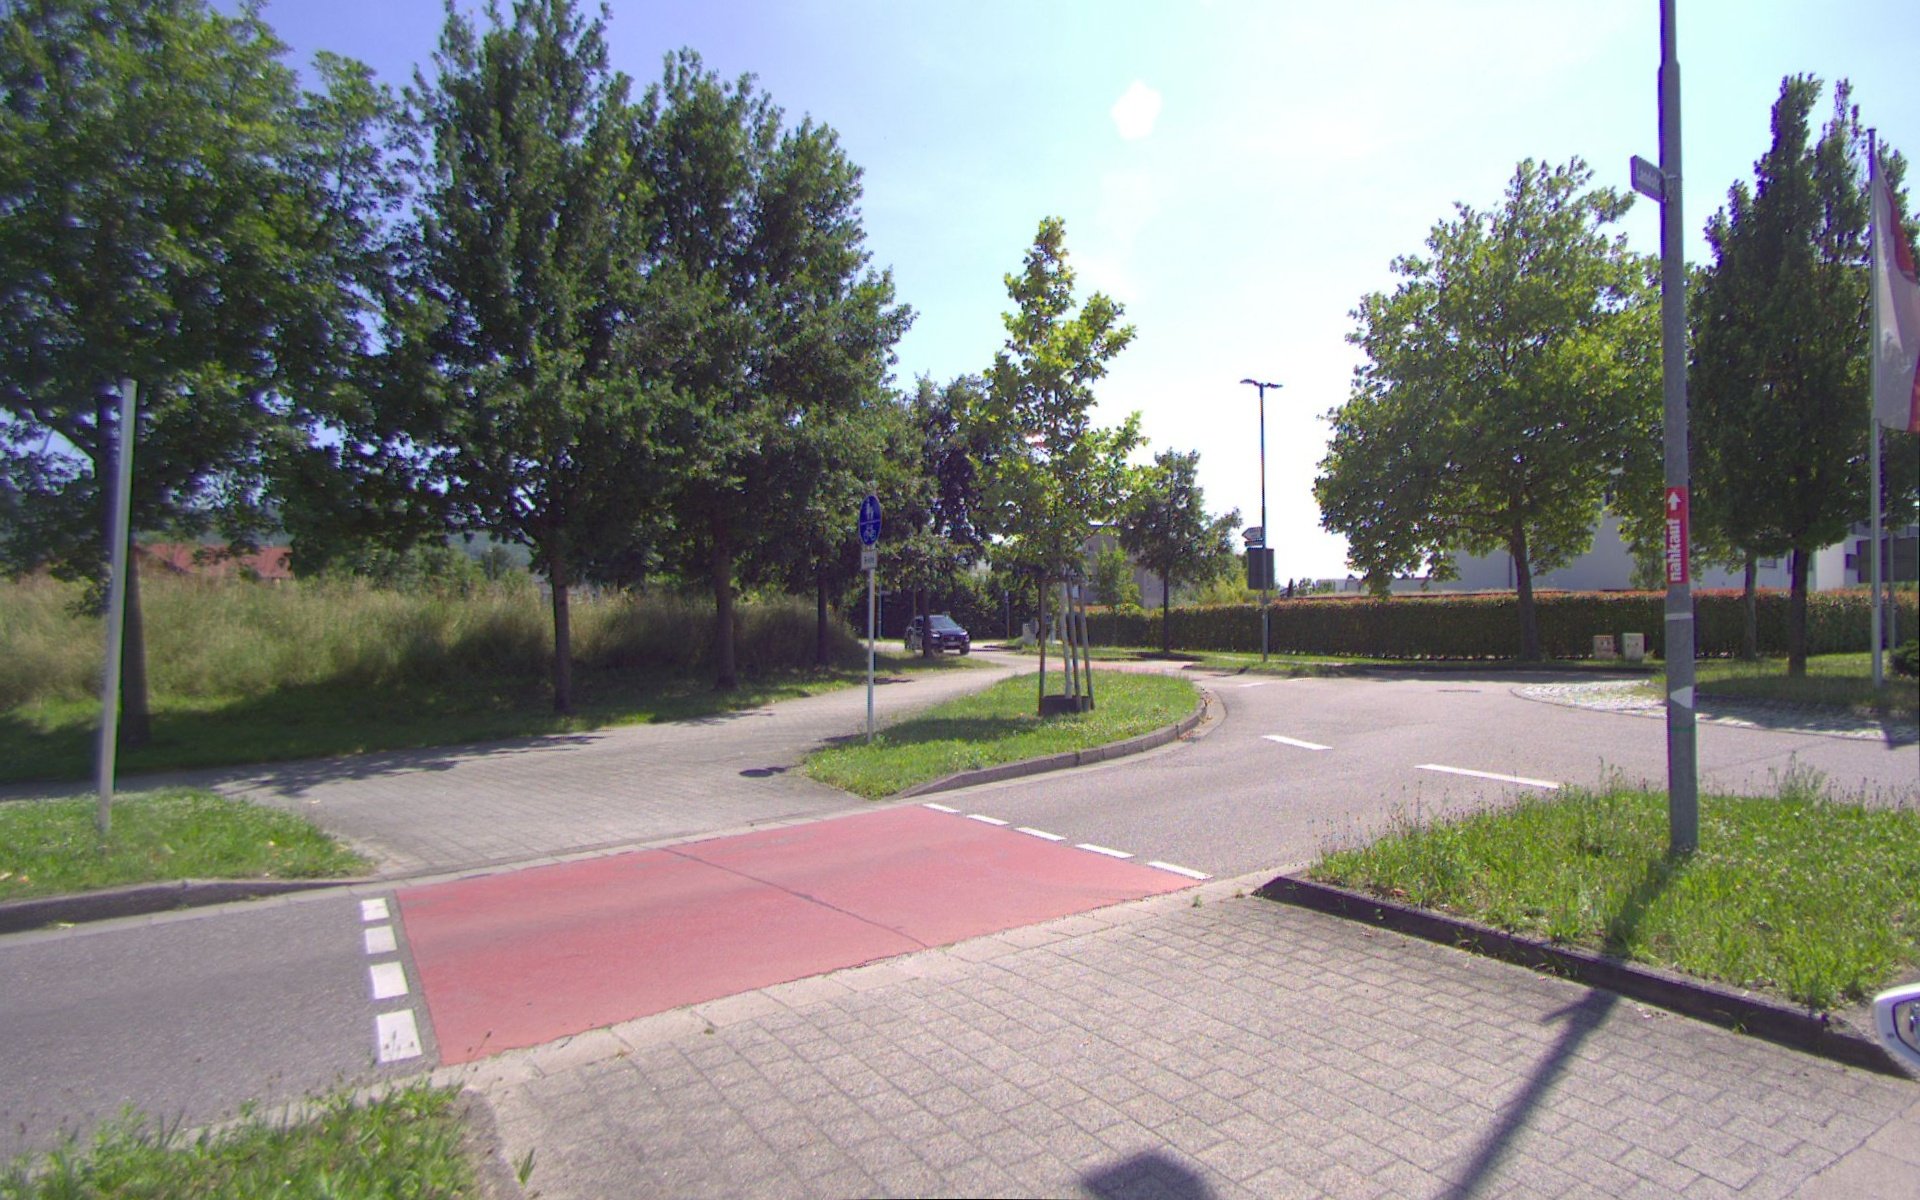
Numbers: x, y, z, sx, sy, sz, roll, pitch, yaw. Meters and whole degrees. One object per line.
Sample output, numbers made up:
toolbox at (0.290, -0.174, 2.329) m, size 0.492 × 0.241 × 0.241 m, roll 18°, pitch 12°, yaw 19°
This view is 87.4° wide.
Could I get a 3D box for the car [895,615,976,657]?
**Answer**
car at (-1.065, 1.439, 40.854) m, size 1.839 × 1.589 × 4.463 m, roll 0°, pitch -1°, yaw -23°
